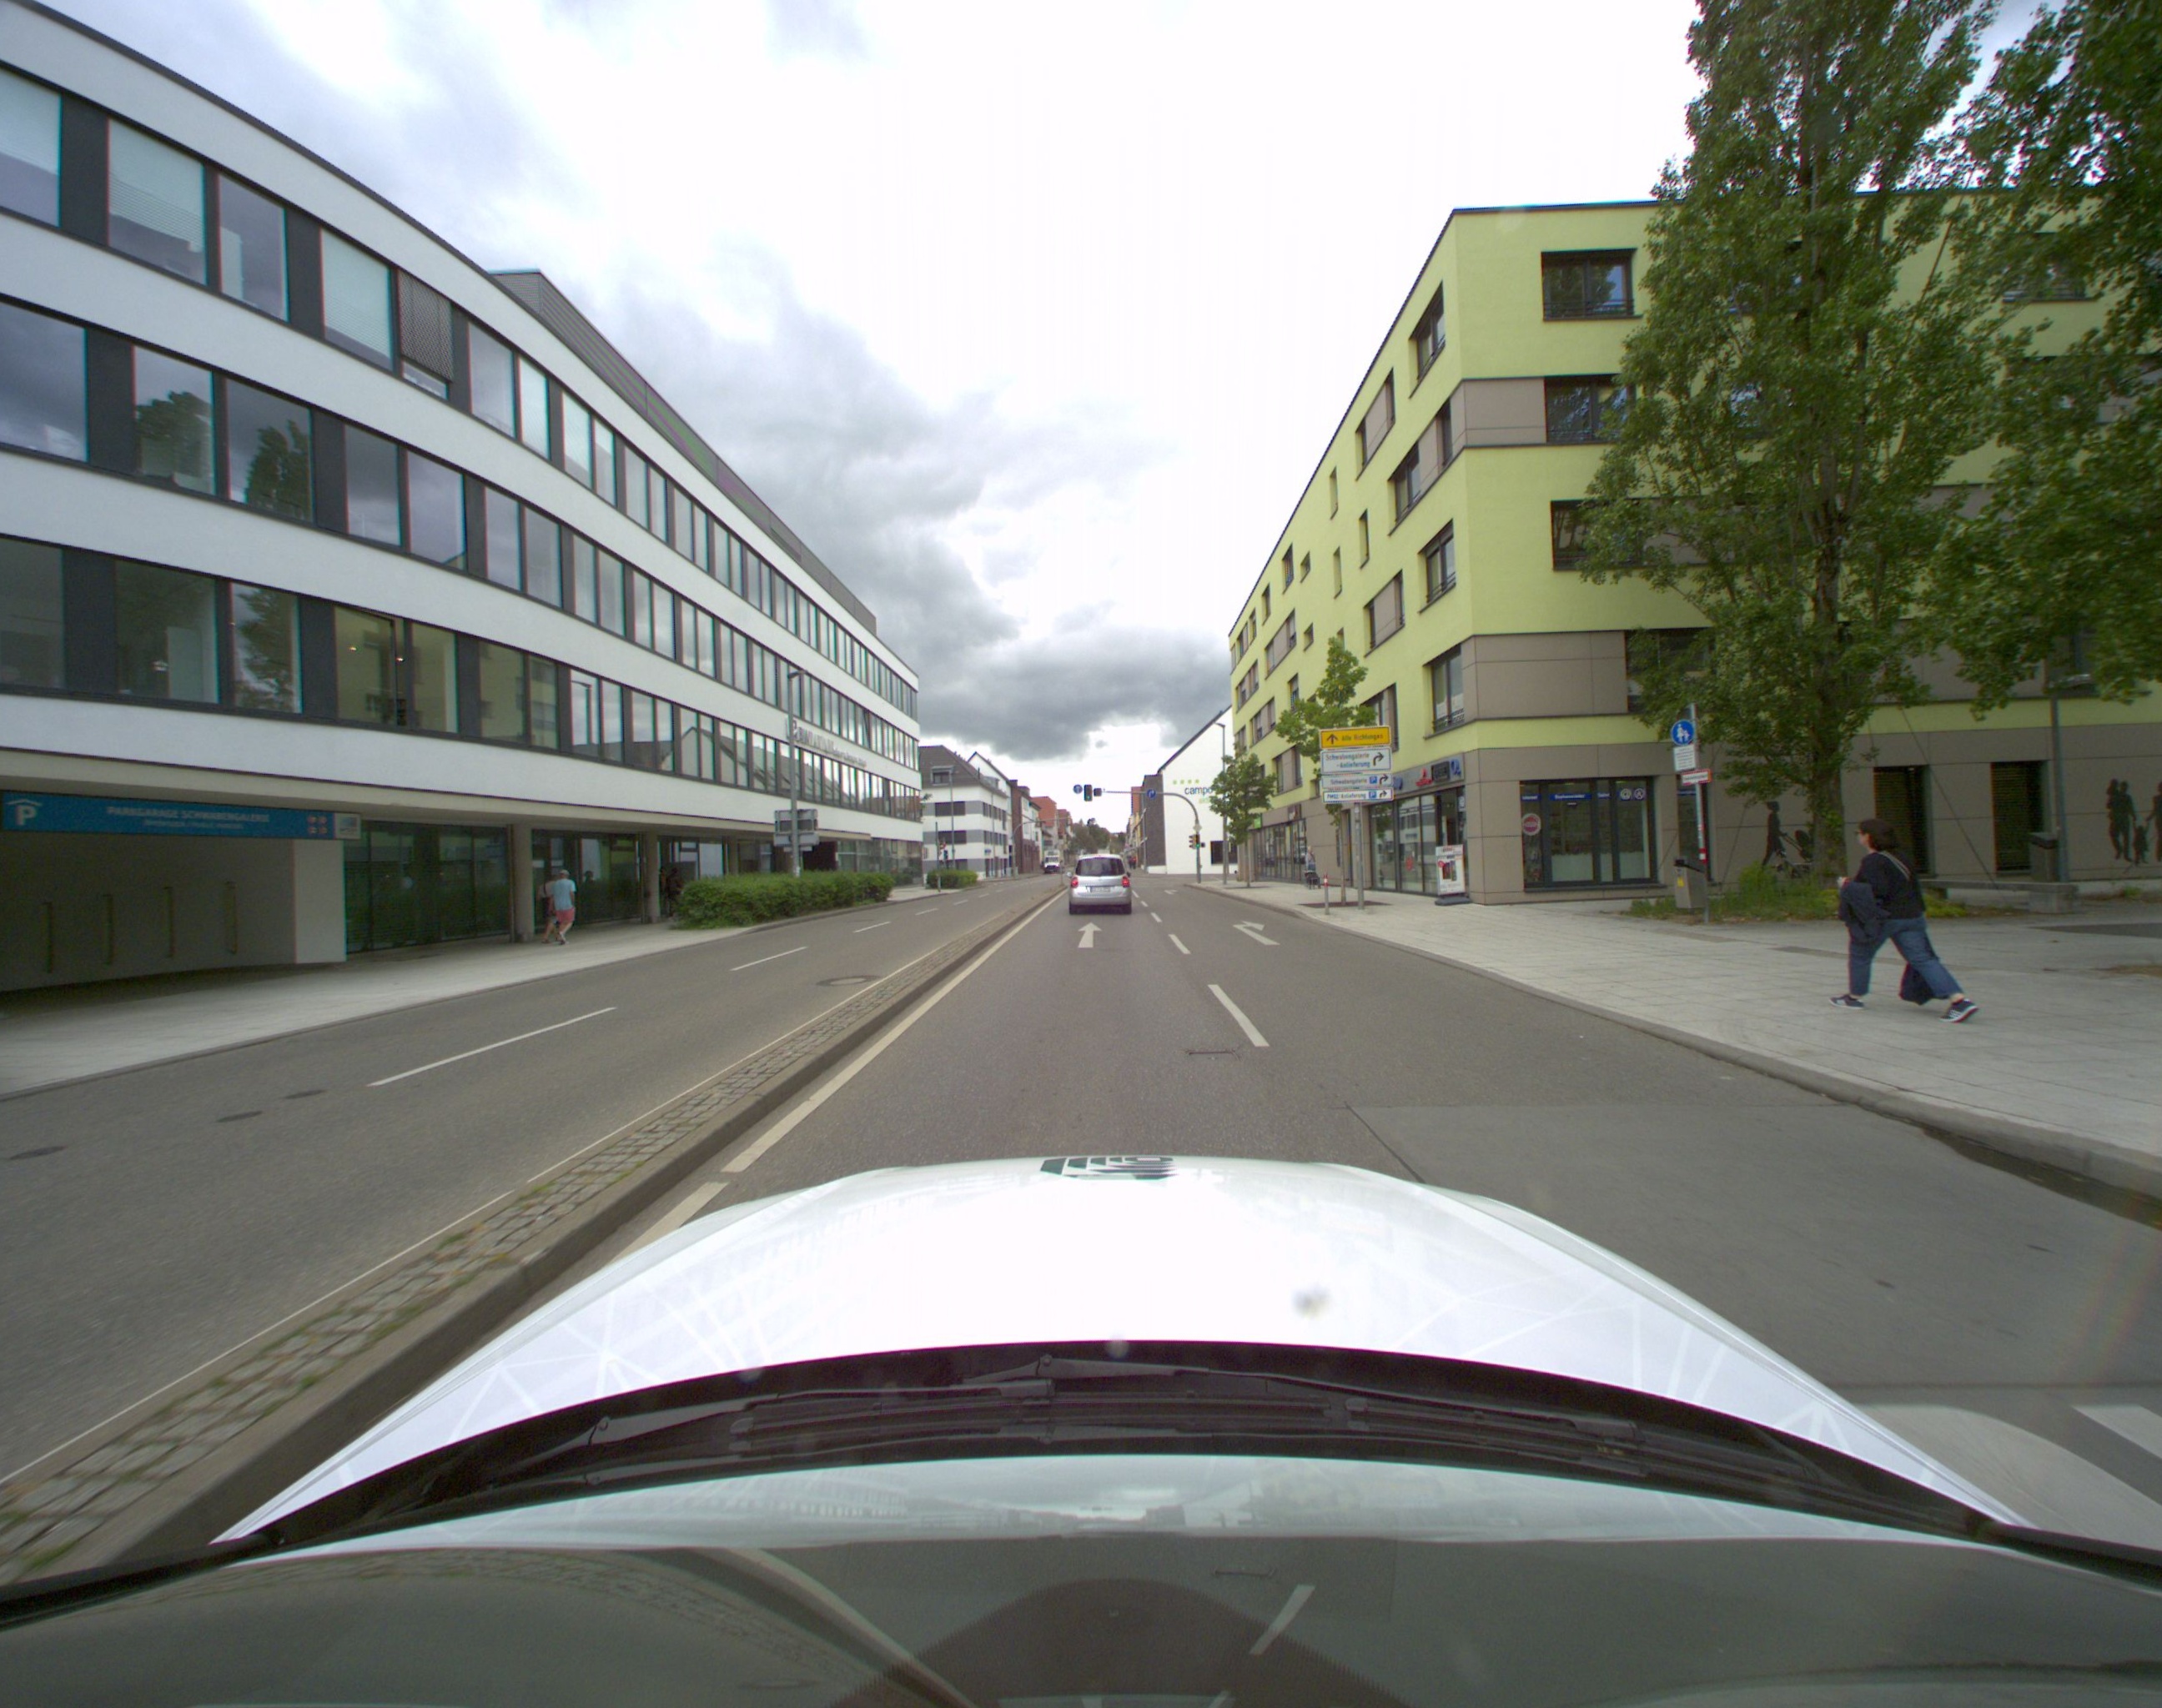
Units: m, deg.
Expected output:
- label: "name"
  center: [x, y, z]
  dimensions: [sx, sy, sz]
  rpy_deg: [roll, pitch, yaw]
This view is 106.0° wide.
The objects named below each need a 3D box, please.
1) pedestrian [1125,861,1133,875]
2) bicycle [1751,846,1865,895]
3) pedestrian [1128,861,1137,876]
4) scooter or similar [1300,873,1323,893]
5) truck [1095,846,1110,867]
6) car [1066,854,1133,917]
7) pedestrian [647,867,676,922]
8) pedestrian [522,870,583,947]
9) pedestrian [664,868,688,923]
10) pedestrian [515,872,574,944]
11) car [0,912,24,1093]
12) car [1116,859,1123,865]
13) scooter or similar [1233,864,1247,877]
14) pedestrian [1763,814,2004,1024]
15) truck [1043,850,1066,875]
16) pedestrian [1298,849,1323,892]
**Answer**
- label: "pedestrian"
  center: [6.194, 1.806, 104.409]
  dimensions: [0.886, 1.787, 0.785]
  rpy_deg: [-5, 0, 2]
- label: "bicycle"
  center: [15.866, 0.361, 17.795]
  dimensions: [1.869, 1.000, 0.543]
  rpy_deg: [-2, -1, 6]
- label: "pedestrian"
  center: [6.095, 1.718, 96.248]
  dimensions: [0.804, 1.787, 0.861]
  rpy_deg: [-5, 0, 2]
- label: "scooter or similar"
  center: [8.506, 1.073, 30.029]
  dimensions: [0.590, 0.673, 0.824]
  rpy_deg: [-3, 0, 1]
- label: "truck"
  center: [3.990, 0.453, 150.270]
  dimensions: [2.585, 3.857, 6.852]
  rpy_deg: [-2, 0, 2]
- label: "car"
  center: [0.532, 0.813, 22.736]
  dimensions: [1.700, 1.579, 4.001]
  rpy_deg: [-1, 0, 2]
- label: "pedestrian"
  center: [-13.663, 1.317, 26.512]
  dimensions: [0.500, 1.730, 0.619]
  rpy_deg: [-3, -1, 33]
- label: "pedestrian"
  center: [-11.937, 1.209, 18.431]
  dimensions: [0.727, 1.674, 0.932]
  rpy_deg: [-1, -1, 4]
- label: "pedestrian"
  center: [-12.942, 1.320, 26.052]
  dimensions: [0.617, 1.710, 0.501]
  rpy_deg: [-2, -1, -29]
- label: "pedestrian"
  center: [-12.663, 1.258, 19.233]
  dimensions: [0.727, 1.613, 0.932]
  rpy_deg: [-1, -1, 4]
- label: "car"
  center: [-10.951, 1.214, 6.697]
  dimensions: [4.415, 1.415, 1.914]
  rpy_deg: [-1, 0, 26]
- label: "car"
  center: [9.637, 2.021, 204.993]
  dimensions: [1.805, 1.354, 4.003]
  rpy_deg: [-3, 0, 2]
- label: "scooter or similar"
  center: [15.165, 1.533, 77.602]
  dimensions: [1.225, 1.235, 0.407]
  rpy_deg: [-1, -1, 2]
- label: "pedestrian"
  center: [6.626, 0.503, 6.801]
  dimensions: [0.944, 1.583, 1.016]
  rpy_deg: [-2, -1, 1]
- label: "truck"
  center: [-3.372, 1.107, 105.285]
  dimensions: [2.426, 2.953, 8.367]
  rpy_deg: [-2, 0, 2]
- label: "pedestrian"
  center: [8.646, 0.616, 30.751]
  dimensions: [0.693, 1.593, 0.603]
  rpy_deg: [-3, -1, 1]
